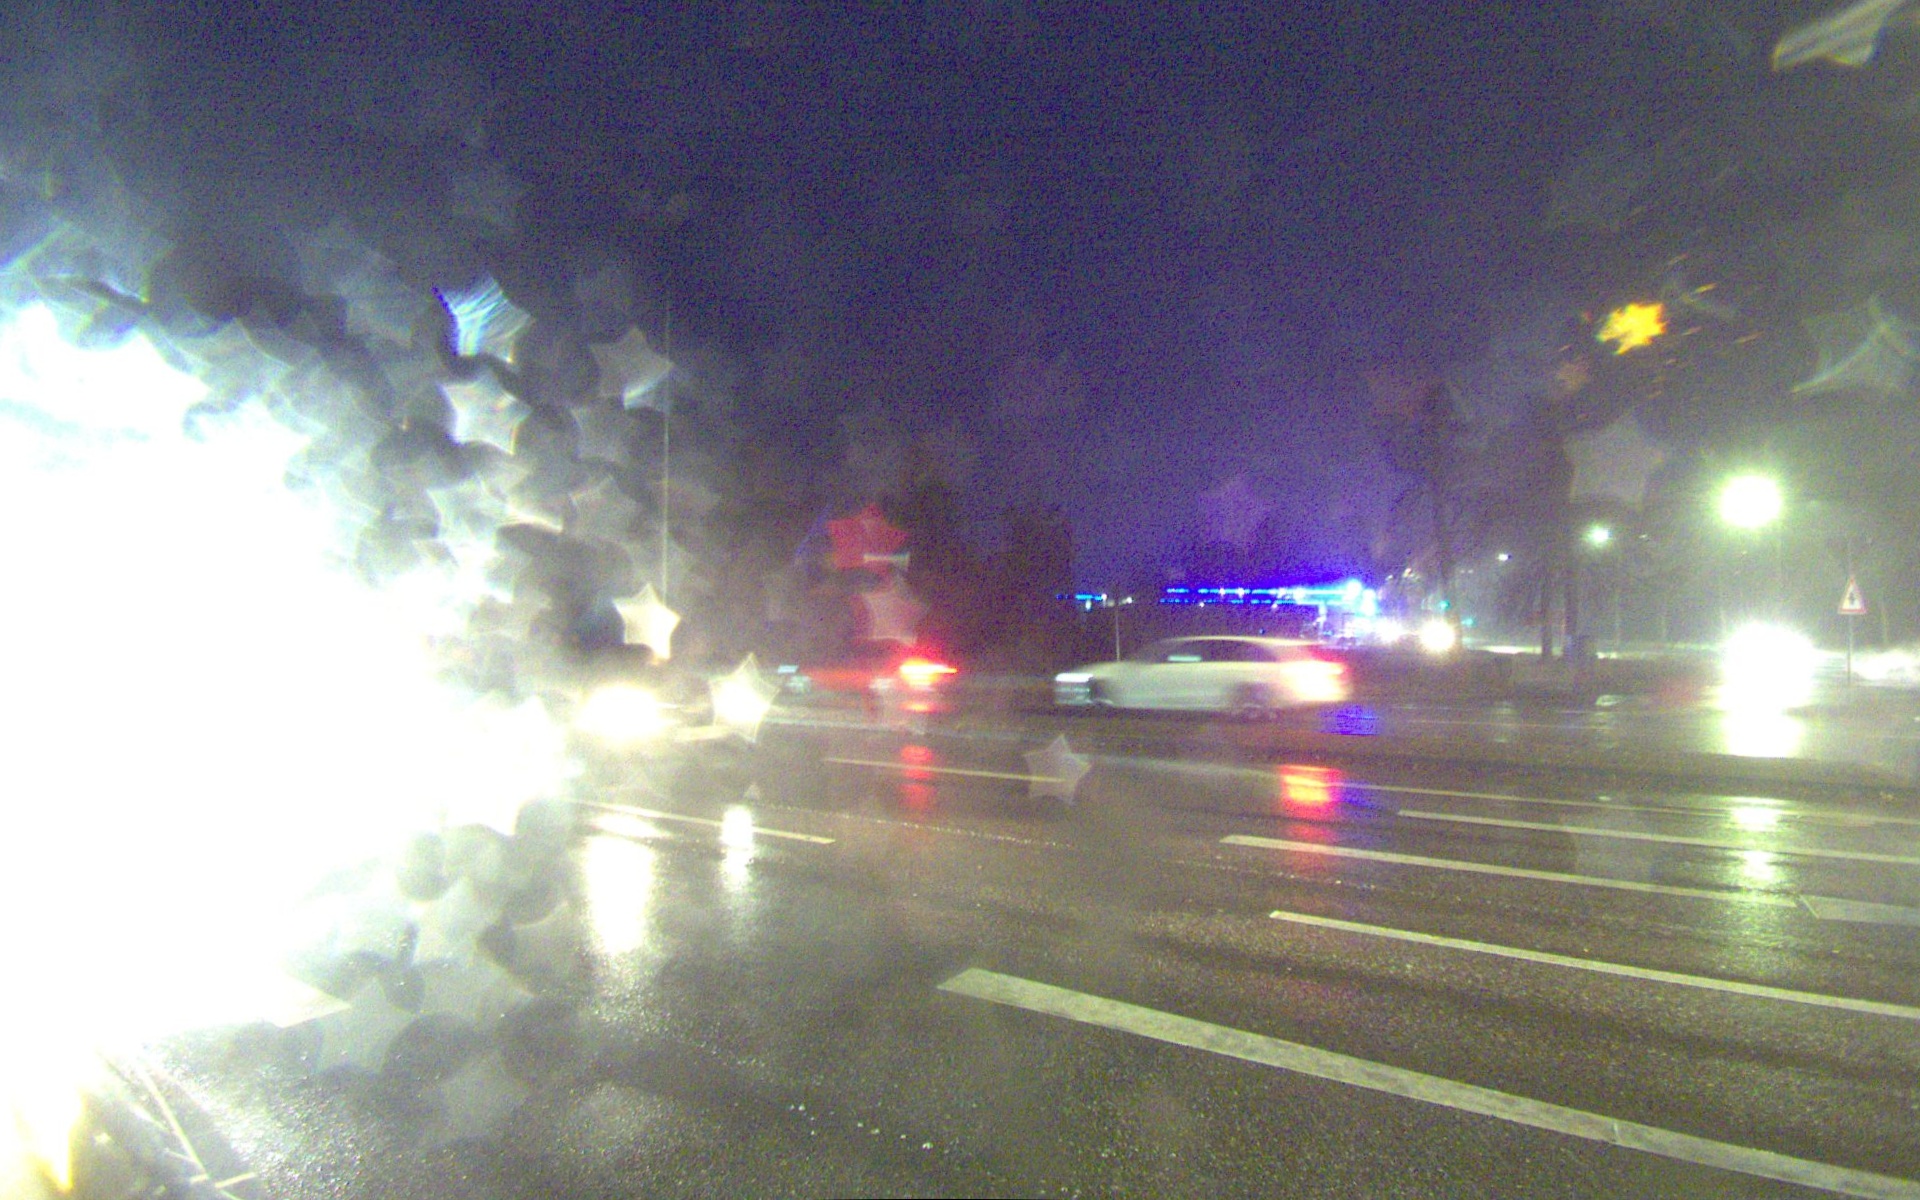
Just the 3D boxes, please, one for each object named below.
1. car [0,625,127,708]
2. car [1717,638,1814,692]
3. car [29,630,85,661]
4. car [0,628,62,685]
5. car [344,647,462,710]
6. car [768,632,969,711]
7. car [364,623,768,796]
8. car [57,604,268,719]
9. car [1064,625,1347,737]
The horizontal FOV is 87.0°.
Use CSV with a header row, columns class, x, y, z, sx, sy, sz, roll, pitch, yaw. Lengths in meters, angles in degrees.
class,x,y,z,sx,sy,sz,roll,pitch,yaw
car,-20.497,1.428,22.850,4.233,1.607,1.766,1,-1,39
car,34.533,2.738,43.519,1.647,2.095,3.983,-1,0,13
car,-55.798,2.755,62.504,4.633,1.751,1.835,-1,0,38
car,-27.149,1.582,28.928,4.172,1.456,1.658,-1,-1,41
car,-18.761,2.571,34.030,4.200,1.848,1.975,-1,-1,37
car,-2.325,1.727,25.367,4.768,1.806,2.015,-2,-2,31
car,-4.065,0.958,10.252,4.110,1.419,1.815,-1,-2,34
car,-14.427,1.018,18.211,4.715,1.807,1.974,-2,-1,39
car,4.229,1.312,17.639,4.445,1.733,1.886,-1,-3,32
